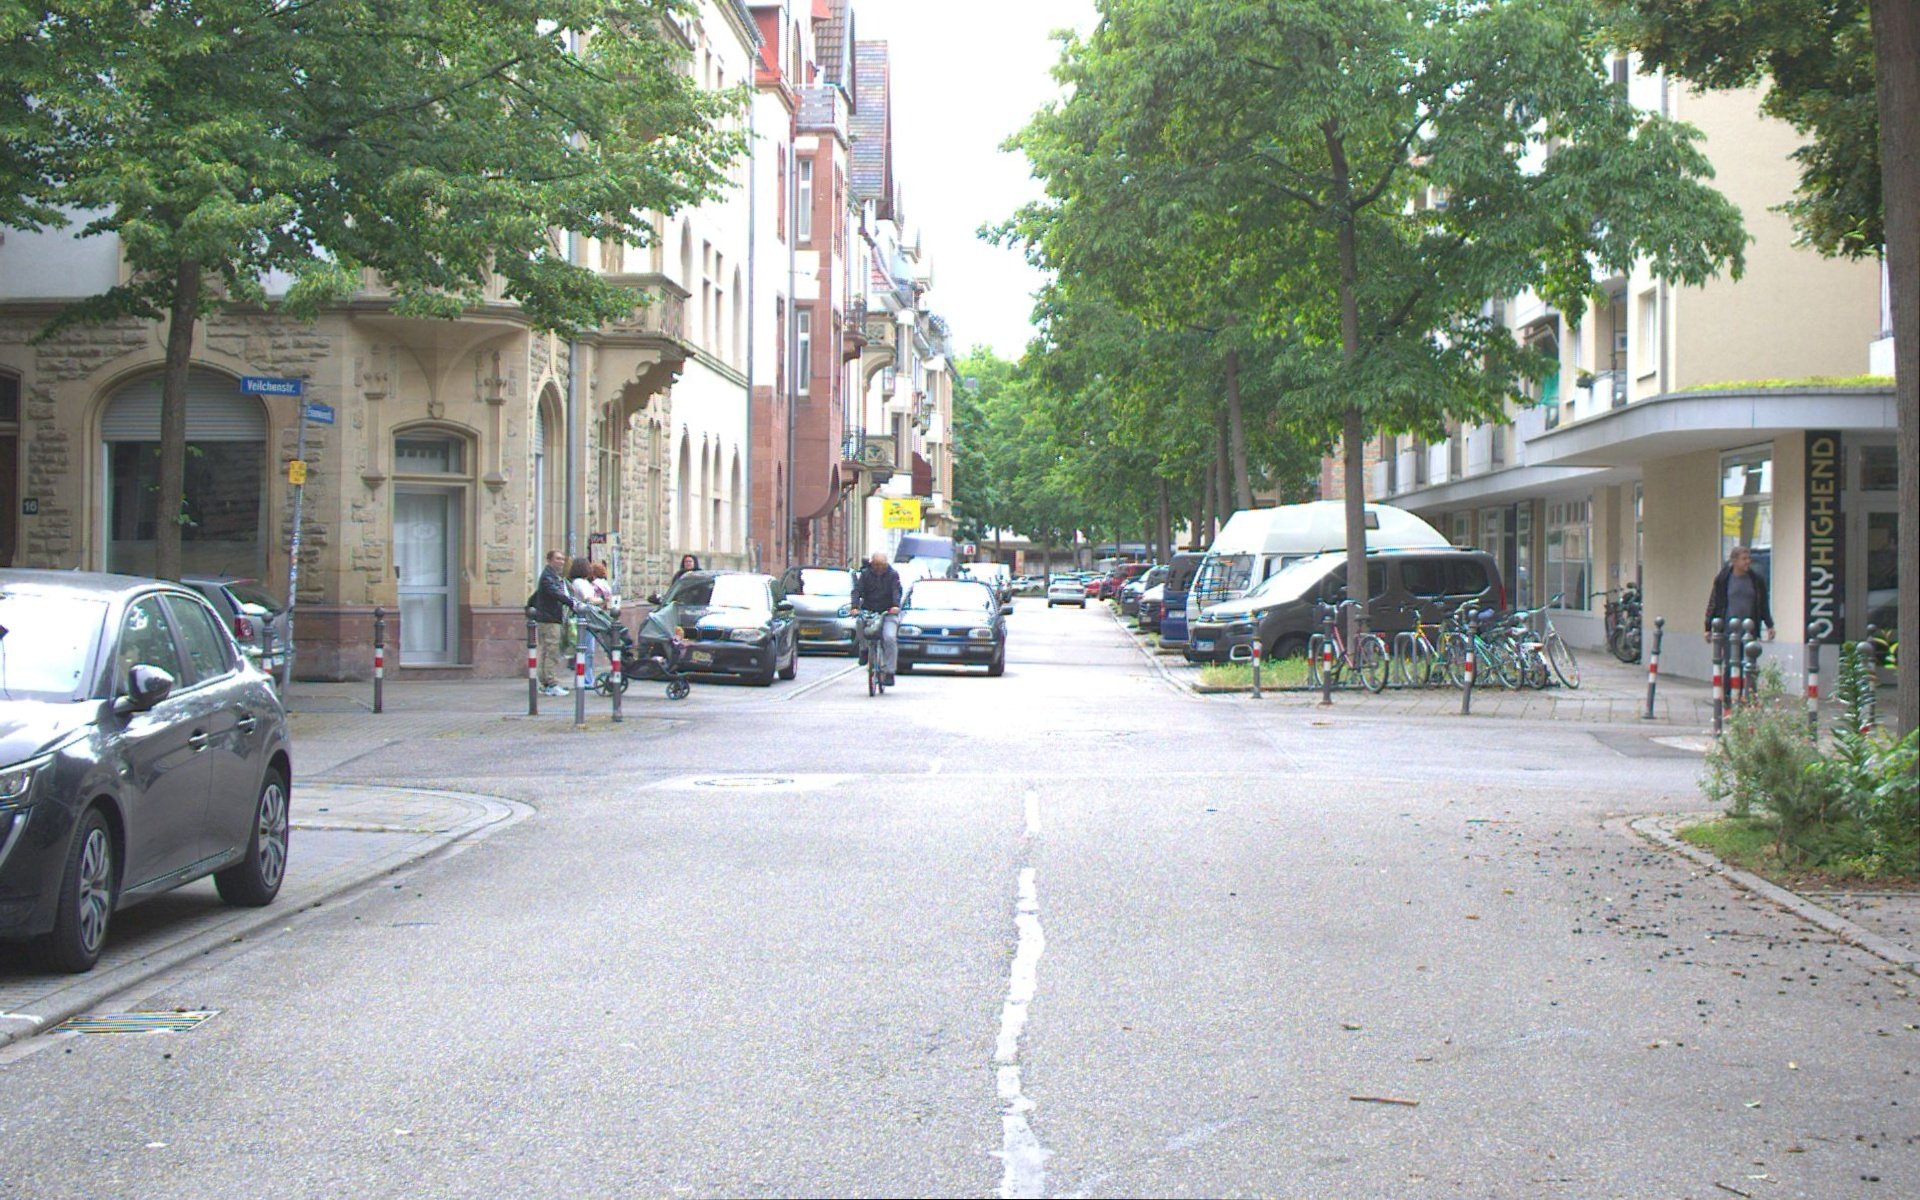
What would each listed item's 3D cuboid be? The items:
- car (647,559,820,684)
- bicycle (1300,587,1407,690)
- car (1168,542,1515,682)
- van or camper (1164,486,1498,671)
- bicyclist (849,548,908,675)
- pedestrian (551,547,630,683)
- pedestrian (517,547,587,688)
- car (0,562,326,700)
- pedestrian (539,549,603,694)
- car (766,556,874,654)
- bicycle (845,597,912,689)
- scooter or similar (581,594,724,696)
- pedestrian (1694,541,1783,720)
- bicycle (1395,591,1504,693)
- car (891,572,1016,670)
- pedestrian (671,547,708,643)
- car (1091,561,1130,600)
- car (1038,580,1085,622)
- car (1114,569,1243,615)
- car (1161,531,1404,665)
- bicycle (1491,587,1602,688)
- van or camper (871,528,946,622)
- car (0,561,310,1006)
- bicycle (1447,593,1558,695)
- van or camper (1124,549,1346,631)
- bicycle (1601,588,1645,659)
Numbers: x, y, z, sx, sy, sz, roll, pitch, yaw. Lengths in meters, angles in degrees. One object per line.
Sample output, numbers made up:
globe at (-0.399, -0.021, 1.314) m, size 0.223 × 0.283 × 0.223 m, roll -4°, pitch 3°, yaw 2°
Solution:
car at (-2.895, 0.287, 44.727) m, size 1.709 × 1.489 × 3.999 m, roll 2°, pitch 0°, yaw 3°
bicycle at (4.624, 0.444, 40.502) m, size 0.548 × 1.169 × 1.729 m, roll 0°, pitch 1°, yaw -19°
car at (5.221, 0.147, 47.054) m, size 4.331 × 1.848 × 1.911 m, roll 0°, pitch 1°, yaw -23°
van or camper at (5.408, -0.318, 50.009) m, size 4.581 × 2.587 × 1.911 m, roll 0°, pitch 1°, yaw -30°
bicyclist at (-0.992, 0.134, 41.778) m, size 0.648 × 1.533 × 0.677 m, roll 0°, pitch 0°, yaw 4°
pedestrian at (-4.405, 0.173, 40.995) m, size 0.631 × 1.588 × 0.668 m, roll 2°, pitch 1°, yaw 43°
pedestrian at (-4.783, 0.200, 40.351) m, size 0.616 × 1.638 × 0.603 m, roll 1°, pitch 1°, yaw 14°
car at (-9.151, 0.339, 38.726) m, size 3.570 × 1.455 × 1.649 m, roll 0°, pitch 2°, yaw 11°
pedestrian at (-4.489, 0.244, 39.677) m, size 0.528 × 1.638 × 0.528 m, roll 2°, pitch 1°, yaw 14°
car at (-2.399, 0.063, 59.495) m, size 1.646 × 1.565 × 2.957 m, roll 2°, pitch 2°, yaw 1°
bicycle at (-0.983, 0.510, 41.764) m, size 0.634 × 1.090 × 1.799 m, roll 0°, pitch 0°, yaw 4°
scooter or similar at (-3.548, 0.514, 39.716) m, size 1.470 × 1.100 × 0.675 m, roll 3°, pitch 1°, yaw 14°
pedestrian at (7.931, 0.306, 35.043) m, size 0.779 × 1.791 × 0.509 m, roll 1°, pitch 1°, yaw 4°
bicycle at (5.825, 0.489, 40.989) m, size 0.548 × 1.169 × 1.729 m, roll 0°, pitch 1°, yaw -19°
car at (-0.060, 0.320, 51.647) m, size 1.708 × 1.408 × 3.852 m, roll 0°, pitch -1°, yaw 2°
pedestrian at (-4.296, -0.083, 54.643) m, size 0.515 × 1.513 × 0.546 m, roll 0°, pitch 0°, yaw 2°
car at (8.251, -1.093, 188.551) m, size 1.994 × 2.007 × 4.000 m, roll 3°, pitch 1°, yaw 2°
car at (4.552, 0.063, 153.663) m, size 1.994 × 1.788 × 3.999 m, roll 2°, pitch -1°, yaw 3°
car at (7.499, -0.266, 118.068) m, size 4.010 × 1.554 × 1.885 m, roll 0°, pitch 0°, yaw -28°
car at (5.517, -0.060, 58.359) m, size 2.065 × 2.189 × 4.389 m, roll 1°, pitch 1°, yaw 38°
bicycle at (7.065, 0.440, 41.479) m, size 0.548 × 1.169 × 1.698 m, roll 0°, pitch 1°, yaw -19°
van or camper at (-1.550, -0.807, 105.562) m, size 2.008 × 2.642 × 5.316 m, roll 0°, pitch 3°, yaw 2°
car at (-3.891, 0.592, 13.569) m, size 1.727 × 1.429 × 3.881 m, roll 2°, pitch 1°, yaw 2°
bicycle at (6.476, 0.512, 41.145) m, size 0.548 × 1.169 × 1.729 m, roll 0°, pitch 1°, yaw -19°
van or camper at (6.756, -0.254, 84.532) m, size 5.005 × 1.863 × 2.127 m, roll -1°, pitch 0°, yaw -25°
bicycle at (10.349, 0.354, 53.693) m, size 0.485 × 1.086 × 1.700 m, roll 0°, pitch 0°, yaw 4°
